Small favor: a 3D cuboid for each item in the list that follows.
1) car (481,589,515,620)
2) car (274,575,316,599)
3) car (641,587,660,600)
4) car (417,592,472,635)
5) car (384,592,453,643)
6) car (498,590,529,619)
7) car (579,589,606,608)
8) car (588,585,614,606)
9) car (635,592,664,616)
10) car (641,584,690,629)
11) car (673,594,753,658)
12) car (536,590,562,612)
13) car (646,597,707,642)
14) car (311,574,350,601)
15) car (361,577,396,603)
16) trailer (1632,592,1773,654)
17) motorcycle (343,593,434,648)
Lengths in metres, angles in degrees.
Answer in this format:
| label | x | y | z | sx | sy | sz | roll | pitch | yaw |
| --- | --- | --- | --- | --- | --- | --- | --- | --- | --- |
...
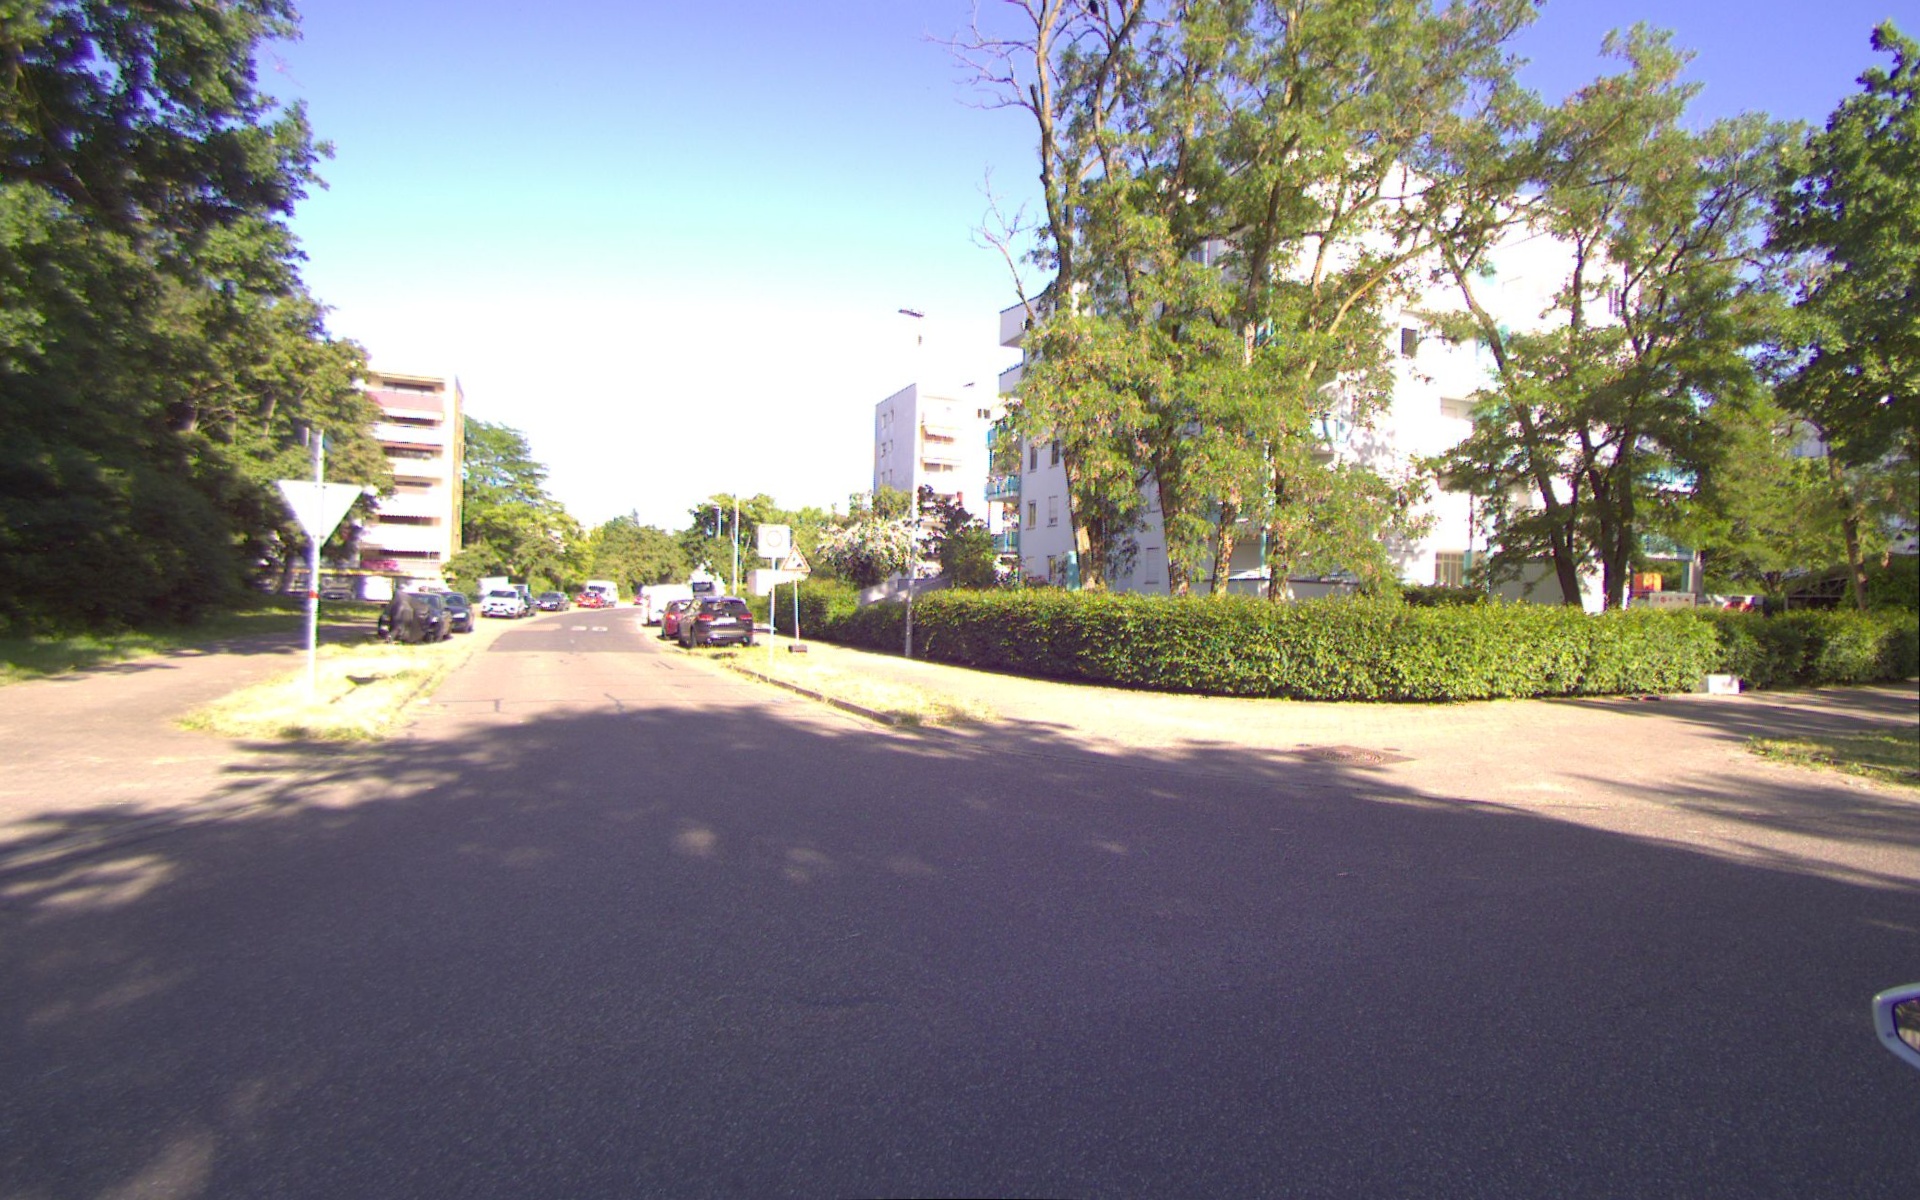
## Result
| label | x | y | z | sx | sy | sz | roll | pitch | yaw |
| --- | --- | --- | --- | --- | --- | --- | --- | --- | --- |
| car | -25.034 | 0.223 | 54.519 | 1.623 | 1.578 | 3.813 | 1 | 0 | -24 |
| car | -45.794 | -0.895 | 69.214 | 1.775 | 1.547 | 3.813 | 1 | 0 | -24 |
| car | -38.769 | -0.819 | 125.987 | 1.860 | 1.662 | 3.991 | 2 | 0 | -12 |
| car | -18.565 | 0.461 | 36.292 | 1.538 | 1.410 | 3.567 | 1 | 0 | -24 |
| car | -16.341 | 0.487 | 30.437 | 1.538 | 1.410 | 3.567 | 1 | 0 | -24 |
| car | -26.621 | 0.255 | 59.866 | 1.623 | 1.578 | 3.813 | 1 | 0 | -24 |
| car | -33.550 | -0.151 | 91.703 | 1.796 | 1.617 | 3.989 | 2 | 0 | -13 |
| car | -34.560 | -0.467 | 96.753 | 1.950 | 1.925 | 3.989 | 2 | 0 | -13 |
| car | -20.168 | 0.235 | 65.245 | 1.499 | 1.486 | 3.056 | 1 | 0 | -23 |
| car | -14.793 | 0.297 | 50.328 | 1.803 | 2.088 | 3.813 | 1 | 0 | -24 |
| car | -7.657 | 0.755 | 30.939 | 1.732 | 1.808 | 3.813 | 1 | 0 | -24 |
| car | -30.206 | 0.058 | 73.757 | 1.623 | 1.578 | 3.813 | 1 | 0 | -24 |
| car | -10.556 | 0.683 | 37.209 | 1.615 | 1.531 | 3.813 | 1 | 0 | -24 |
| car | -44.133 | -0.870 | 70.455 | 1.738 | 1.767 | 3.813 | 1 | 0 | -24 |
| car | -41.268 | -0.736 | 71.373 | 1.738 | 1.767 | 3.813 | 1 | 0 | -24 |
| trailer | 26.021 | 0.804 | 35.207 | 4.365 | 2.070 | 1.972 | 1 | 0 | -22 |
| motorcycle | -14.965 | 0.529 | 26.360 | 0.664 | 1.362 | 1.955 | 2 | 0 | 34 |
